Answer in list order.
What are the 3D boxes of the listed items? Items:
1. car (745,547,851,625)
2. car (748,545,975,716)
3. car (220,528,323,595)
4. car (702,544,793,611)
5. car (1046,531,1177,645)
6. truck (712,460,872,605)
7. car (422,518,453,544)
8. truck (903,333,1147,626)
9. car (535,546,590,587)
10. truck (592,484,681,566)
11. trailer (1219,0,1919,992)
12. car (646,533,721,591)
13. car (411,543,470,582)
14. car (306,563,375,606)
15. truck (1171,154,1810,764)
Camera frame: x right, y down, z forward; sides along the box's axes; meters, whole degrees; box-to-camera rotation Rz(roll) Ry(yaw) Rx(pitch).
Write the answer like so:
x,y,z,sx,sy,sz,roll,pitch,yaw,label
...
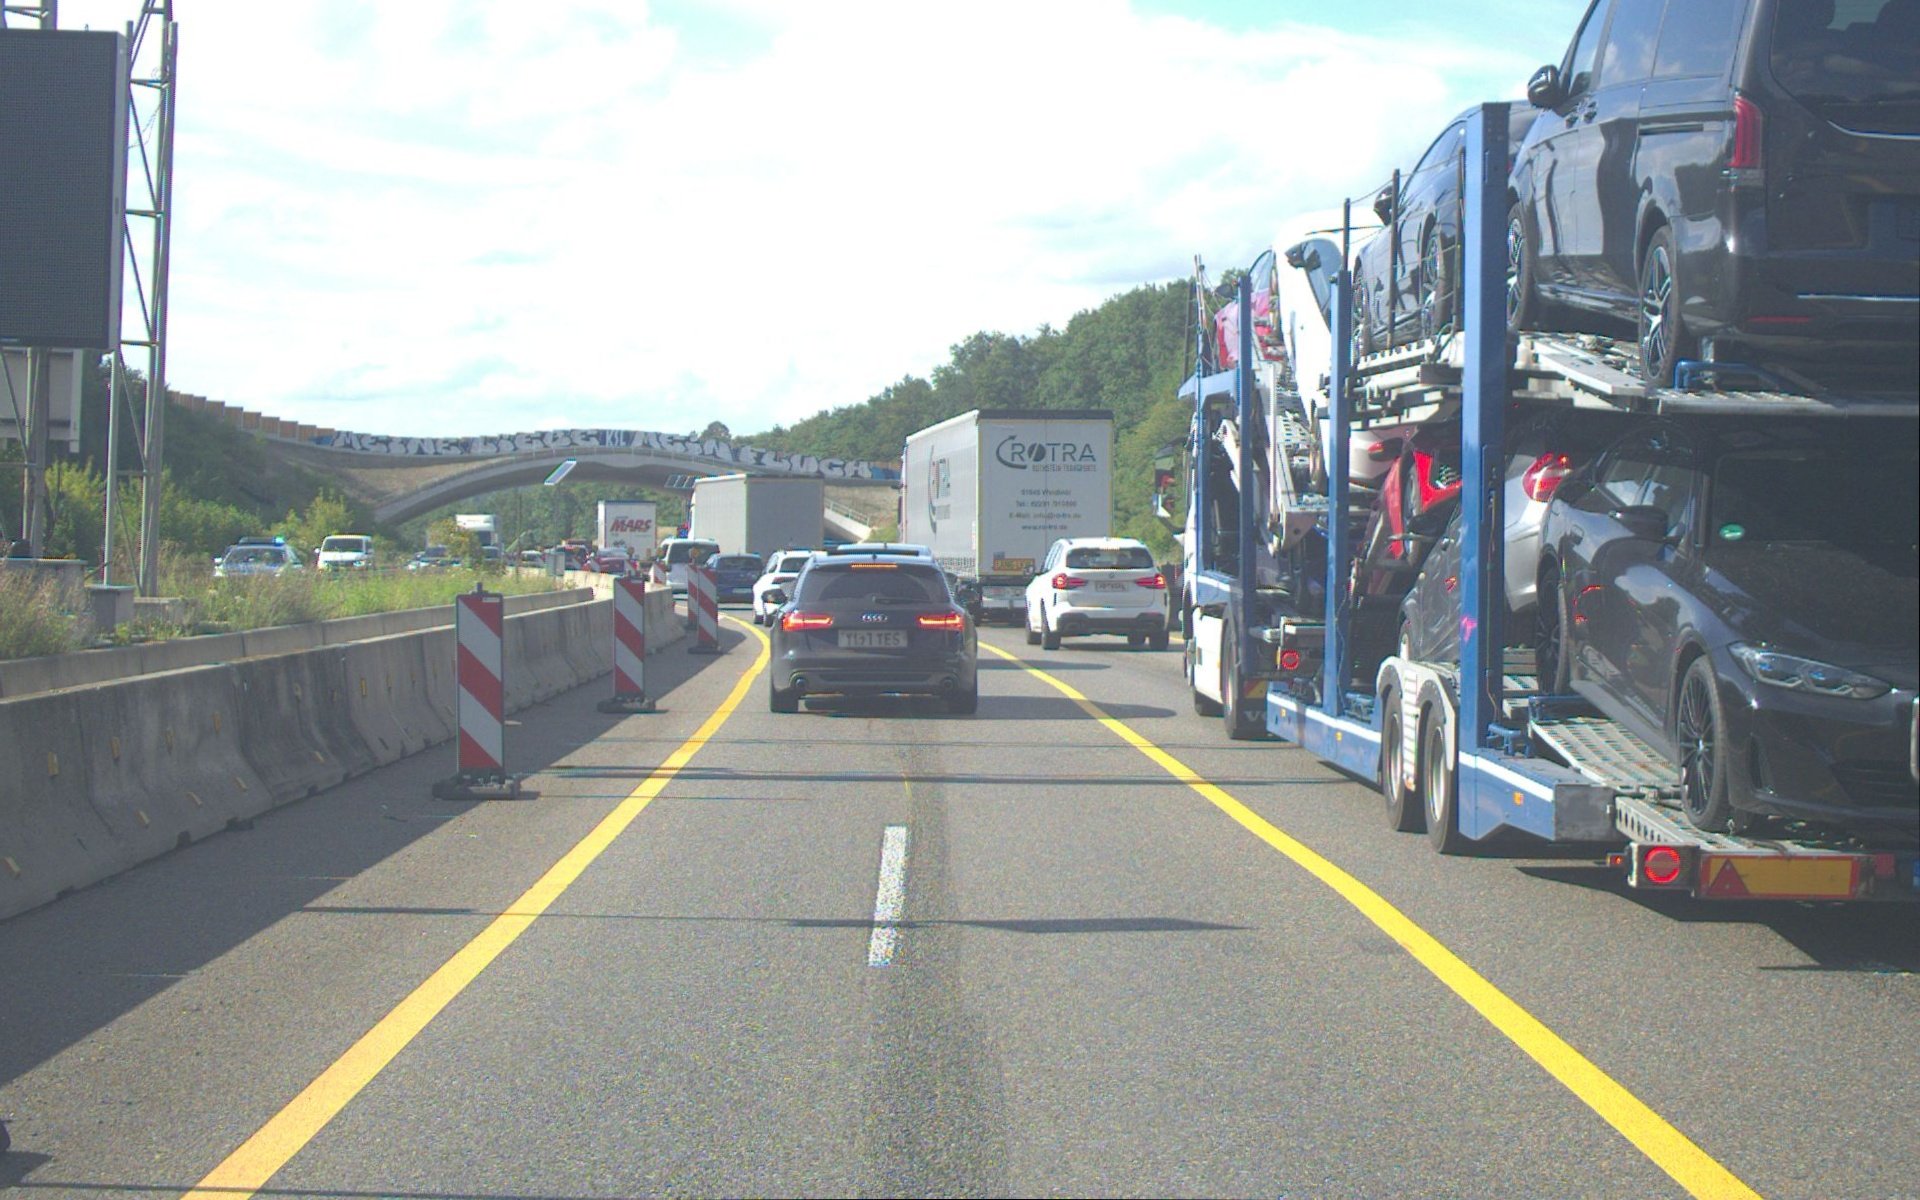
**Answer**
x,y,z,sx,sy,sz,roll,pitch,yaw,label
-3.162,-0.301,66.581,1.890,1.441,4.001,1,1,-5,car
-0.842,0.234,31.625,1.890,1.441,4.000,1,1,1,car
-17.088,-0.969,85.521,1.778,1.597,4.677,1,1,-2,car
-5.452,-0.591,87.838,1.890,1.637,4.019,1,1,-10,car
2.252,-0.201,51.984,1.890,1.637,4.018,1,1,1,car
-5.778,-2.238,115.823,4.318,4.584,11.128,1,1,-8,truck
-37.185,-4.897,244.726,1.780,1.860,4.001,1,1,-4,car
1.066,-2.327,71.312,3.677,5.335,16.204,1,1,-4,truck
-16.292,-1.382,140.890,1.777,1.597,4.019,1,1,-13,car
-16.288,-3.728,172.503,3.653,3.915,11.070,1,1,-9,truck
4.107,-0.910,19.380,3.726,4.182,16.228,1,1,-1,trailer
-8.122,-1.121,100.855,1.890,1.637,4.019,1,1,-9,car
-22.232,-1.616,147.266,1.968,1.597,4.948,1,1,-2,car
-24.354,-0.627,135.243,1.968,1.597,4.948,1,1,-2,car
3.926,-1.034,27.845,3.761,4.182,7.951,1,1,-1,truck
